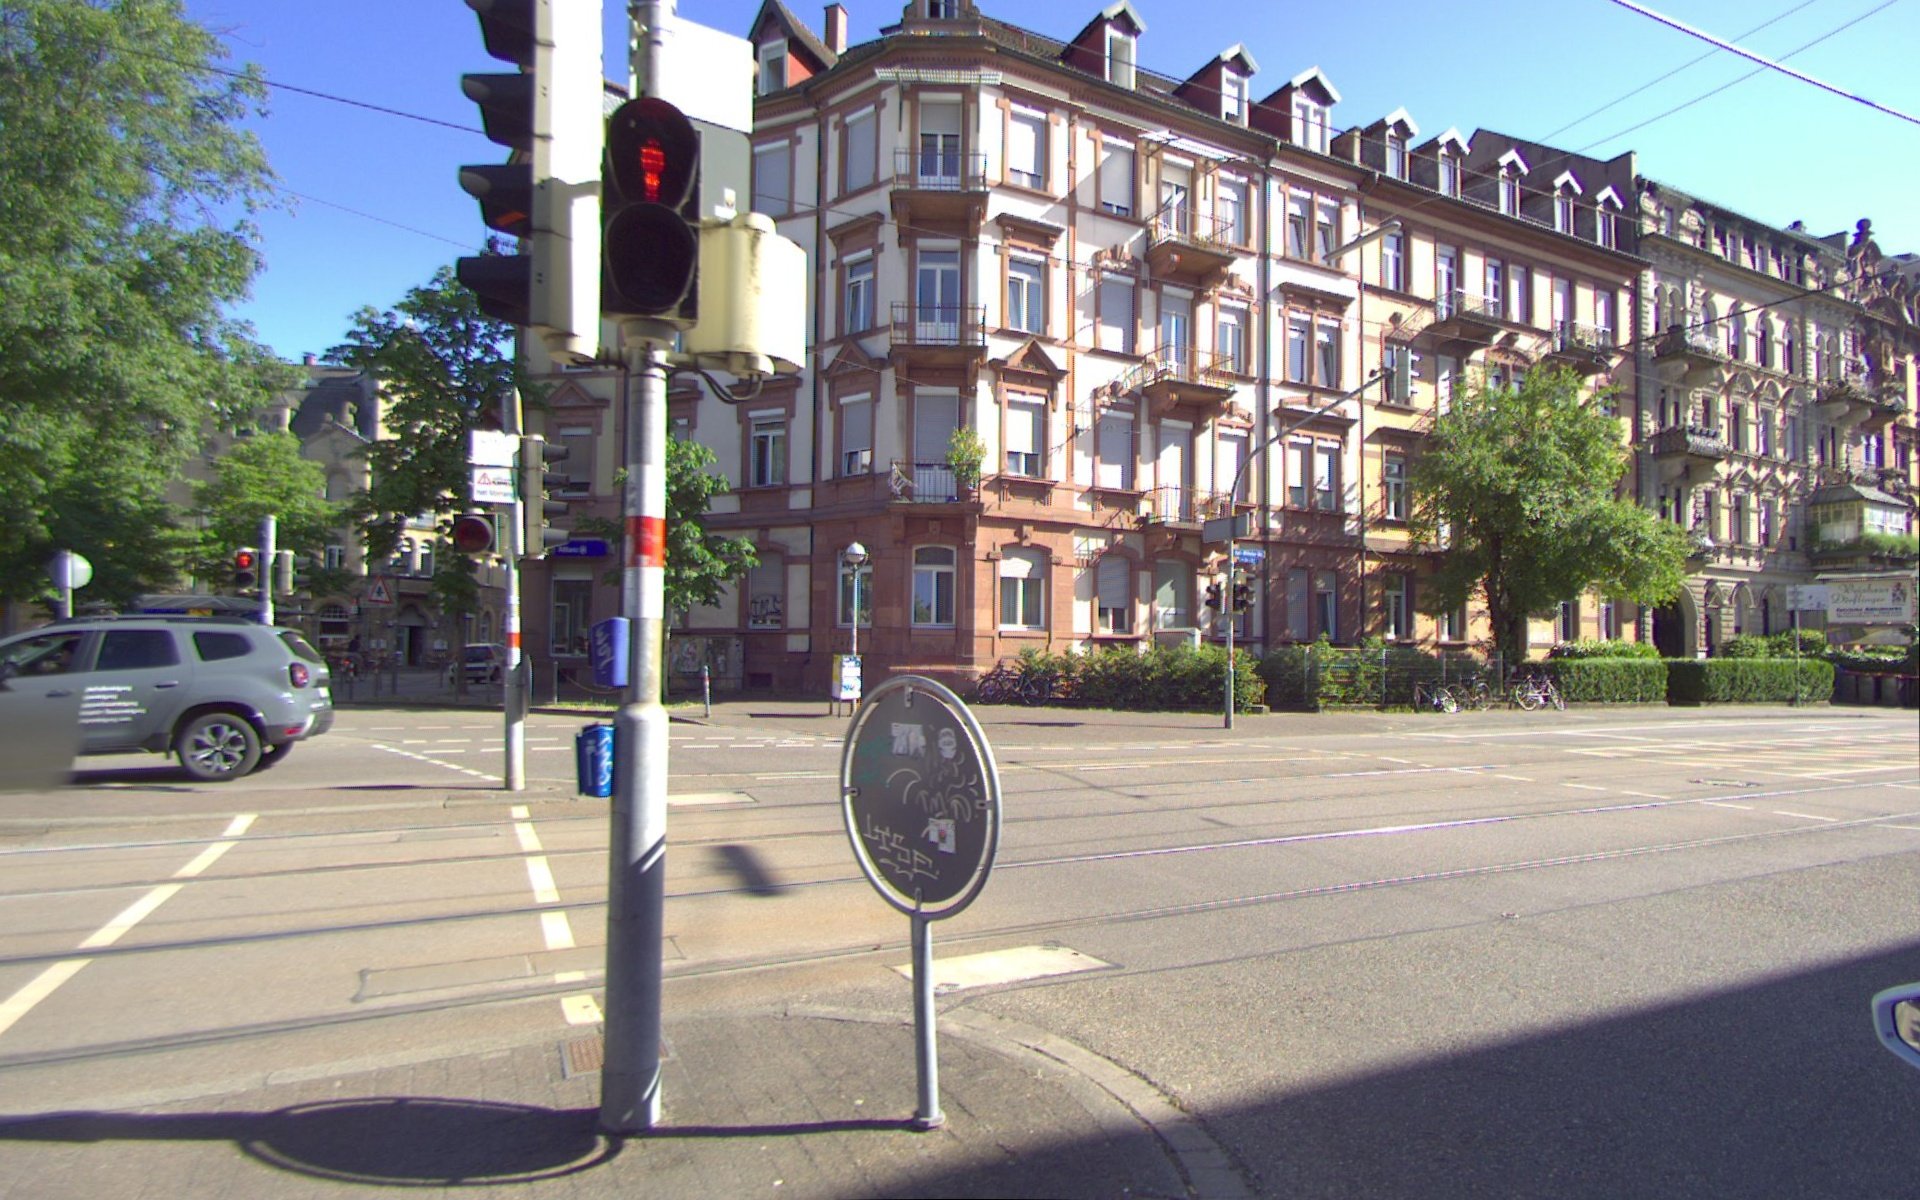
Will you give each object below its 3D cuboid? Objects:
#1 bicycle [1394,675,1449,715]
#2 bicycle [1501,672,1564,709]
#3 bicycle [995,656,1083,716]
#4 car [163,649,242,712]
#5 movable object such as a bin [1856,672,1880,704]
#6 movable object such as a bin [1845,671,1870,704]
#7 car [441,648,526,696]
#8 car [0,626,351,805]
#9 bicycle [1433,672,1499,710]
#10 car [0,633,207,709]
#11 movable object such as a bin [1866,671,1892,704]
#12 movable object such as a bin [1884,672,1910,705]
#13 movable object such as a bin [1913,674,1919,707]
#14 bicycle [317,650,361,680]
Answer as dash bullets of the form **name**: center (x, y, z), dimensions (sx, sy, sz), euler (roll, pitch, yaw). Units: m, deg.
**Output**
- **bicycle**: center (11.398, 2.335, 24.791), dimensions (1.431, 0.938, 0.341), euler (2, -2, -23)
- **bicycle**: center (15.096, 2.384, 26.458), dimensions (1.915, 0.938, 0.341), euler (2, -2, -23)
- **bicycle**: center (1.863, 2.024, 23.771), dimensions (2.005, 1.313, 0.421), euler (1, -1, 15)
- **car**: center (-20.183, 2.097, 26.854), dimensions (1.564, 1.461, 3.421), euler (2, -2, -36)
- **movable object such as a bin**: center (31.563, 3.052, 34.913), dimensions (0.534, 1.100, 0.478), euler (2, -2, -25)
- **movable object such as a bin**: center (31.012, 3.025, 34.696), dimensions (0.534, 1.100, 0.478), euler (2, -2, -25)
- **car**: center (-17.935, 2.678, 37.970), dimensions (1.681, 1.622, 3.455), euler (1, -2, -4)
- **car**: center (-8.827, 1.151, 10.344), dimensions (4.213, 1.638, 1.890), euler (3, -5, -29)
- **bicycle**: center (12.994, 2.322, 25.784), dimensions (1.915, 0.938, 0.341), euler (2, -2, -23)
- **car**: center (-24.658, 1.976, 29.199), dimensions (1.888, 1.967, 4.858), euler (1, -2, -1)
- **movable object such as a bin**: center (31.283, 2.982, 34.191), dimensions (0.534, 1.100, 0.478), euler (2, -2, -25)
- **movable object such as a bin**: center (32.014, 3.029, 34.317), dimensions (0.534, 1.100, 0.478), euler (2, -2, -25)
- **movable object such as a bin**: center (32.507, 3.039, 33.797), dimensions (0.534, 1.100, 0.478), euler (2, -2, -25)
- **bicycle**: center (-22.205, 2.331, 35.937), dimensions (0.563, 1.005, 1.549), euler (1, -2, -1)
